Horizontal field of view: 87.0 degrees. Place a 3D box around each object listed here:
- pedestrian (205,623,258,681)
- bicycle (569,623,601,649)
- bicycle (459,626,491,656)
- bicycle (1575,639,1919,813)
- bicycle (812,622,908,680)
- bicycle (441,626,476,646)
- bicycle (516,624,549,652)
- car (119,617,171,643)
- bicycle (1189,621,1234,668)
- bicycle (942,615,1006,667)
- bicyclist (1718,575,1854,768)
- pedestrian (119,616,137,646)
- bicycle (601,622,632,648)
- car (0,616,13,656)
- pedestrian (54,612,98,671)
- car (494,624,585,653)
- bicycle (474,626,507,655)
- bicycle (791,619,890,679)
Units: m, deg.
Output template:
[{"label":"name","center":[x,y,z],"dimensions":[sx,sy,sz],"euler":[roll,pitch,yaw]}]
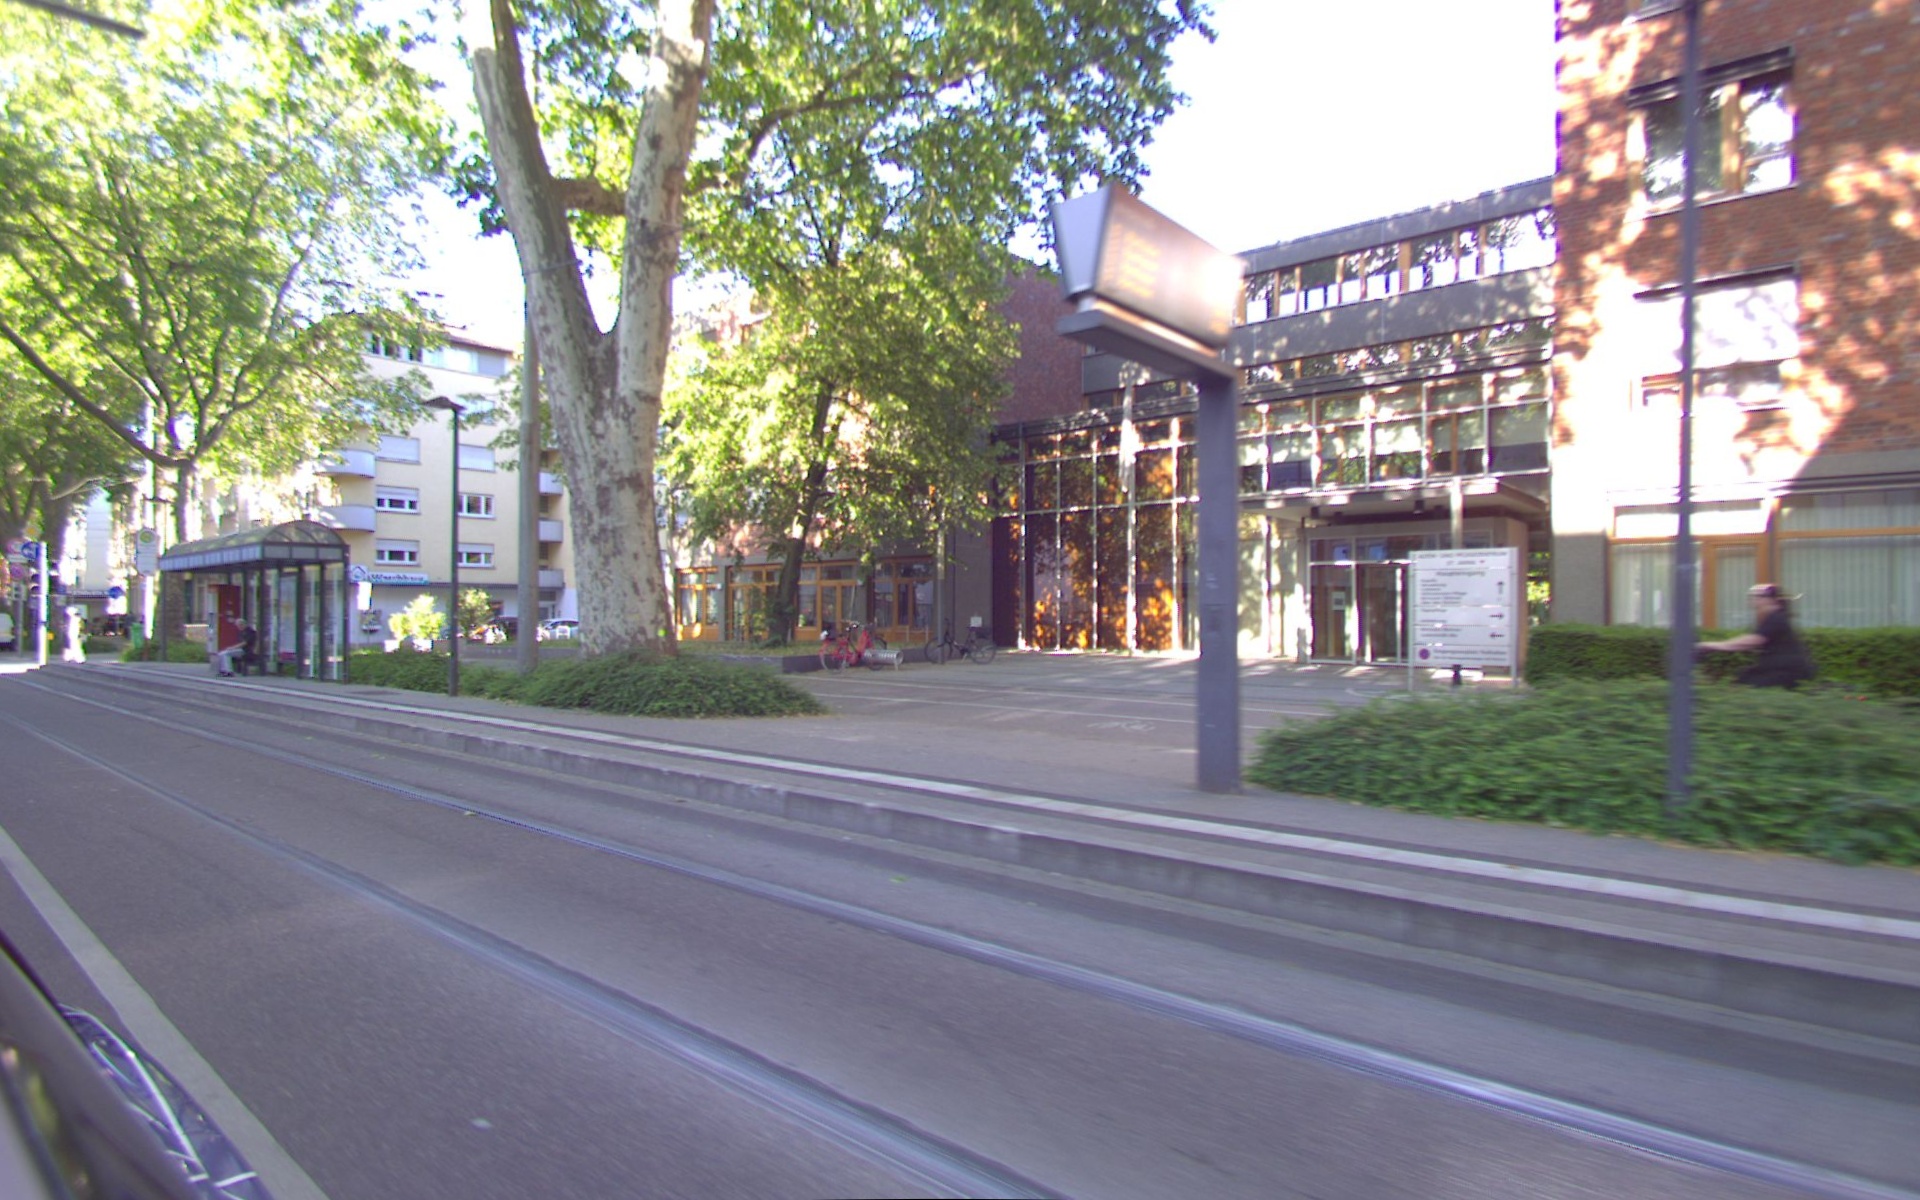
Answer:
[{"label":"pedestrian","center":[-15.050,1.068,20.916],"dimensions":[0.658,1.177,0.698],"euler":[-1,-2,38]},{"label":"bicycle","center":[-16.119,1.544,43.440],"dimensions":[1.637,1.092,0.536],"euler":[-2,-2,40]},{"label":"bicycle","center":[-19.189,1.625,40.021],"dimensions":[1.535,1.092,0.536],"euler":[-4,-3,40]},{"label":"bicycle","center":[6.984,0.992,8.519],"dimensions":[2.976,1.249,0.945],"euler":[-1,0,41]},{"label":"bicycle","center":[-2.231,1.129,22.883],"dimensions":[0.682,1.175,2.316],"euler":[-1,0,41]},{"label":"bicycle","center":[-27.599,1.987,55.708],"dimensions":[0.543,1.092,1.616],"euler":[-2,-2,41]},{"label":"bicycle","center":[-17.597,1.574,41.680],"dimensions":[1.637,1.092,0.536],"euler":[-3,-2,40]},{"label":"car","center":[-56.019,2.030,69.547],"dimensions":[4.896,1.746,1.973],"euler":[-1,0,41]},{"label":"bicycle","center":[6.271,1.078,25.177],"dimensions":[0.760,1.081,1.930],"euler":[-1,0,24]},{"label":"bicycle","center":[0.347,1.003,25.079],"dimensions":[1.477,1.228,0.683],"euler":[0,0,-7]},{"label":"bicyclist","center":[6.965,0.559,8.540],"dimensions":[0.837,1.503,0.945],"euler":[-1,0,41]},{"label":"pedestrian","center":[-53.598,1.997,65.159],"dimensions":[0.863,1.883,0.737],"euler":[-1,0,39]},{"label":"bicycle","center":[-15.091,1.537,44.428],"dimensions":[1.637,1.092,0.536],"euler":[-1,0,40]},{"label":"car","center":[-46.475,1.694,47.982],"dimensions":[4.313,1.864,1.746],"euler":[-1,0,39]},{"label":"pedestrian","center":[-28.385,1.314,32.500],"dimensions":[0.918,1.849,0.915],"euler":[-1,0,37]},{"label":"car","center":[-22.191,1.998,53.501],"dimensions":[1.998,1.386,3.947],"euler":[-1,0,39]},{"label":"bicycle","center":[-18.792,1.612,40.498],"dimensions":[1.637,1.092,0.536],"euler":[-4,-2,40]},{"label":"bicycle","center":[-2.736,1.094,23.469],"dimensions":[0.682,1.228,2.432],"euler":[-1,1,41]}]
